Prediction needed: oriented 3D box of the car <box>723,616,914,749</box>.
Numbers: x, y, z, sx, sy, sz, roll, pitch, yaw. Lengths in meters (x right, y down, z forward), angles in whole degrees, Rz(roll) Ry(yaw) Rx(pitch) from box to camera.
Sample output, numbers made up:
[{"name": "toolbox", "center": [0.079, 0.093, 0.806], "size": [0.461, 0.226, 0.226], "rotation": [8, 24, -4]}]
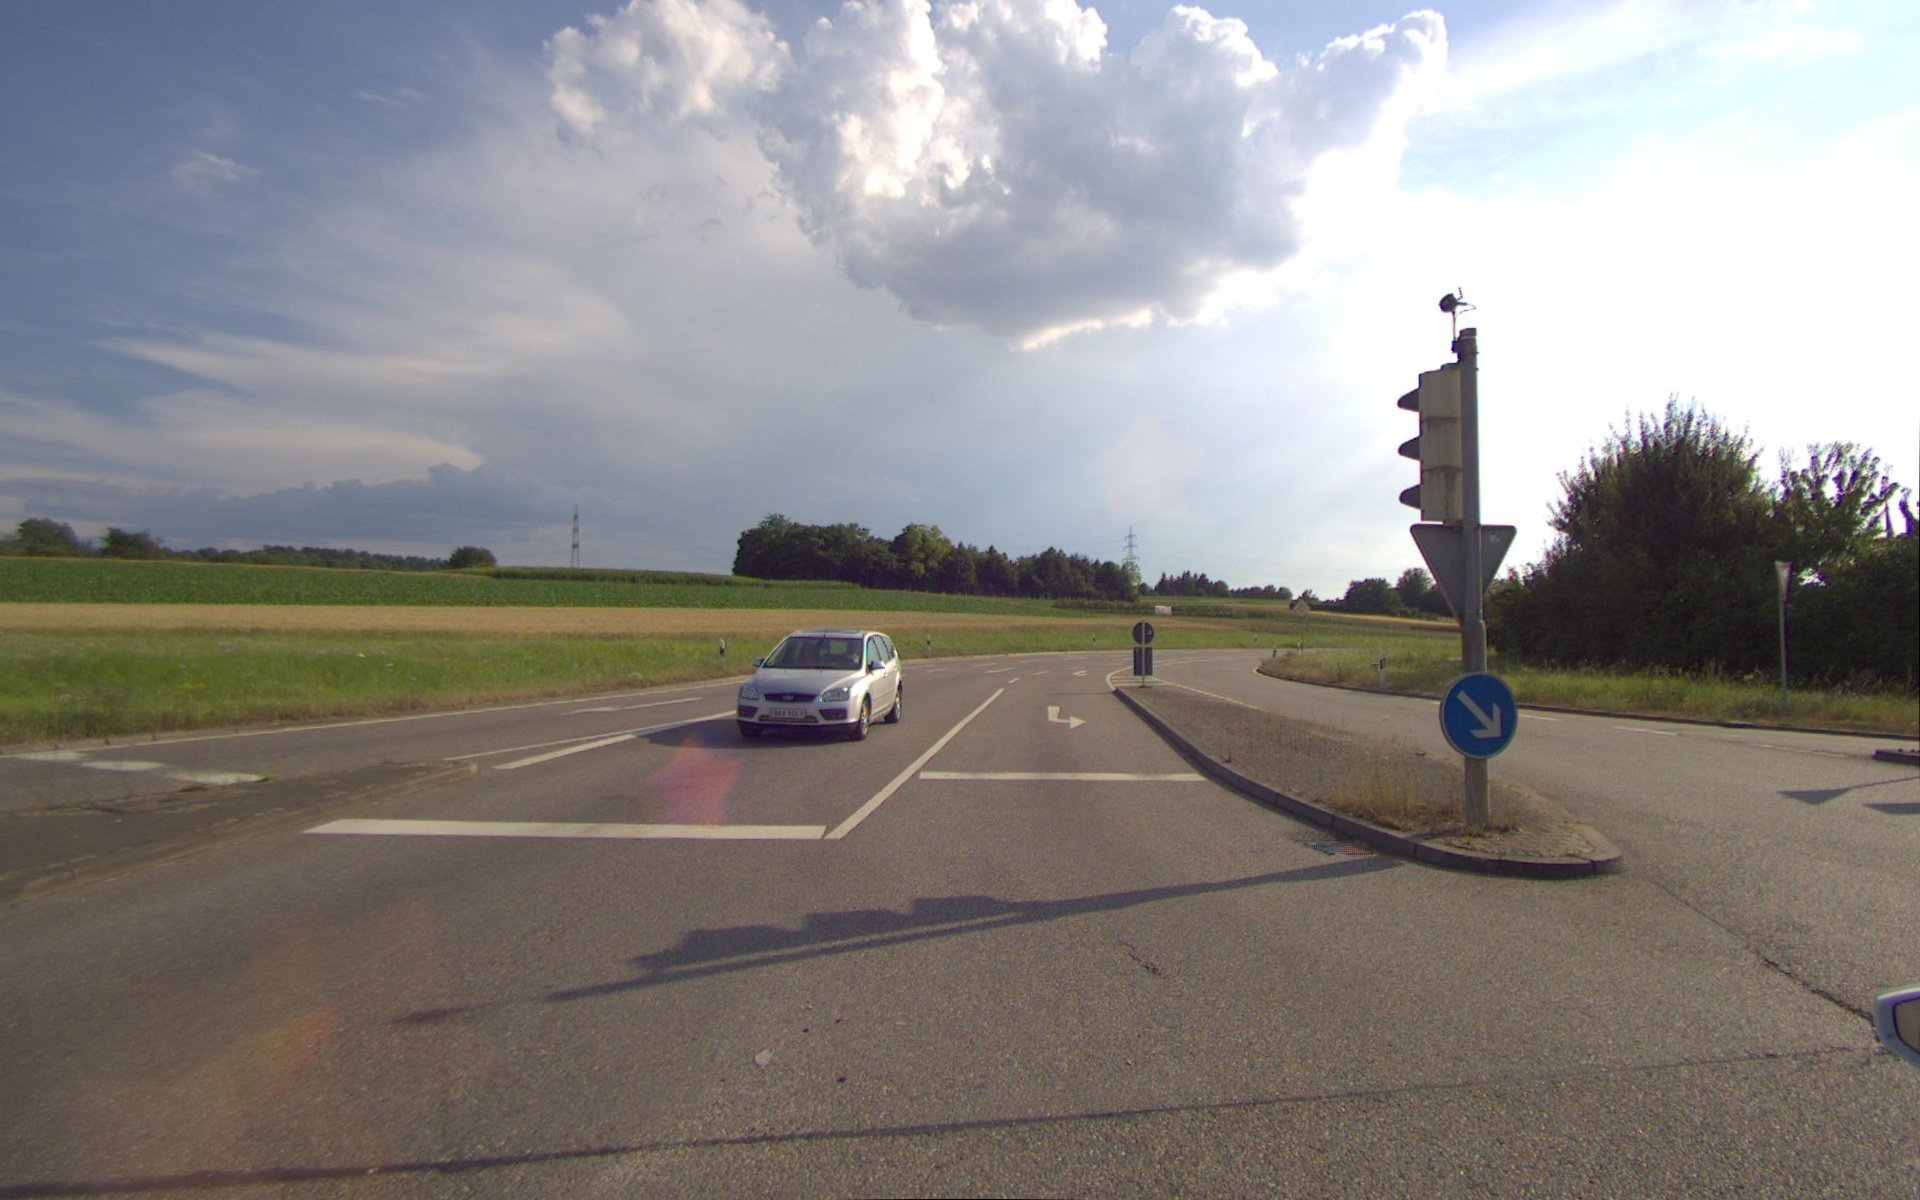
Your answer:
[{"name": "car", "center": [-1.935, 1.095, 15.138], "size": [1.783, 1.549, 4.355], "rotation": [1, 1, 6]}]
